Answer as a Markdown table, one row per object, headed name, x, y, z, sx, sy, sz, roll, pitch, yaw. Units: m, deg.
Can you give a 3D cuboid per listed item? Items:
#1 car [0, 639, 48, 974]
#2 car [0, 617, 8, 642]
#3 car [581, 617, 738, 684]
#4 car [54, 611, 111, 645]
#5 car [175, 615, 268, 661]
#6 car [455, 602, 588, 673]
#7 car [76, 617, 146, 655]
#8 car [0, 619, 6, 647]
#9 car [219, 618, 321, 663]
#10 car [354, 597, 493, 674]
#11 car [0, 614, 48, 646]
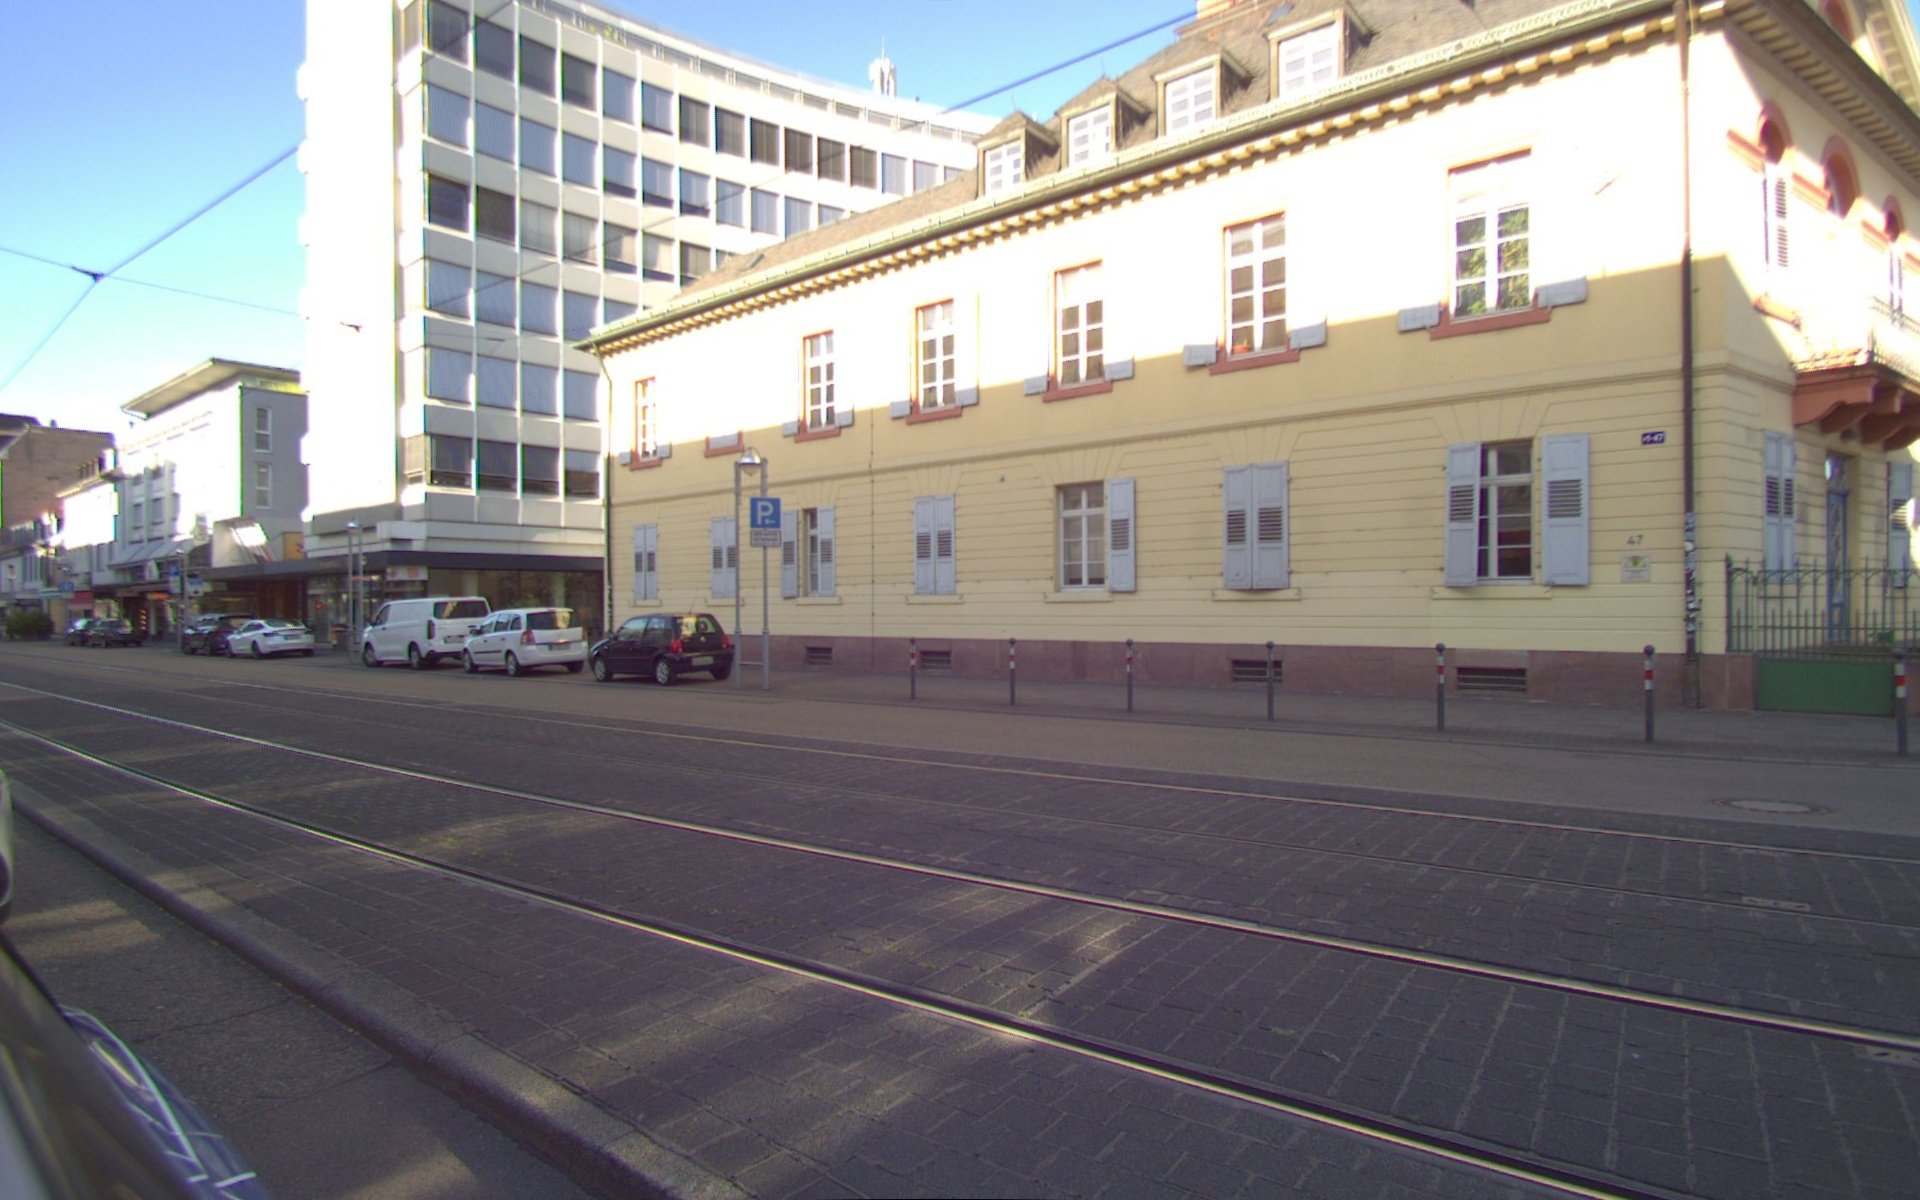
| name | x | y | z | sx | sy | sz | roll | pitch | yaw |
| --- | --- | --- | --- | --- | --- | --- | --- | --- | --- |
| car | -6.102 | 0.904 | 4.808 | 3.992 | 1.393 | 1.862 | -1 | 0 | 36 |
| car | -78.688 | 2.404 | 81.782 | 3.995 | 2.029 | 1.974 | -1 | 0 | 38 |
| car | -6.390 | 1.015 | 21.433 | 3.210 | 1.263 | 1.667 | -1 | 0 | 39 |
| car | -50.098 | 1.592 | 57.773 | 3.994 | 1.896 | 1.768 | -1 | -1 | 38 |
| car | -29.920 | 1.497 | 40.967 | 4.103 | 1.717 | 1.975 | -1 | 0 | 38 |
| car | -11.046 | 0.895 | 25.364 | 4.005 | 1.621 | 1.619 | -1 | 0 | 43 |
| car | -43.793 | 1.818 | 52.194 | 3.995 | 1.874 | 1.974 | -1 | 0 | 38 |
| car | -71.490 | 2.396 | 74.103 | 3.998 | 2.029 | 1.973 | -1 | -1 | 41 |
| car | -25.658 | 1.451 | 37.598 | 4.369 | 1.541 | 1.974 | -1 | 0 | 39 |
| car | -15.423 | 0.976 | 29.004 | 4.619 | 2.029 | 2.014 | -1 | -1 | 41 |
| car | -63.006 | 2.013 | 67.879 | 3.996 | 2.058 | 2.172 | -1 | -1 | 39 |
